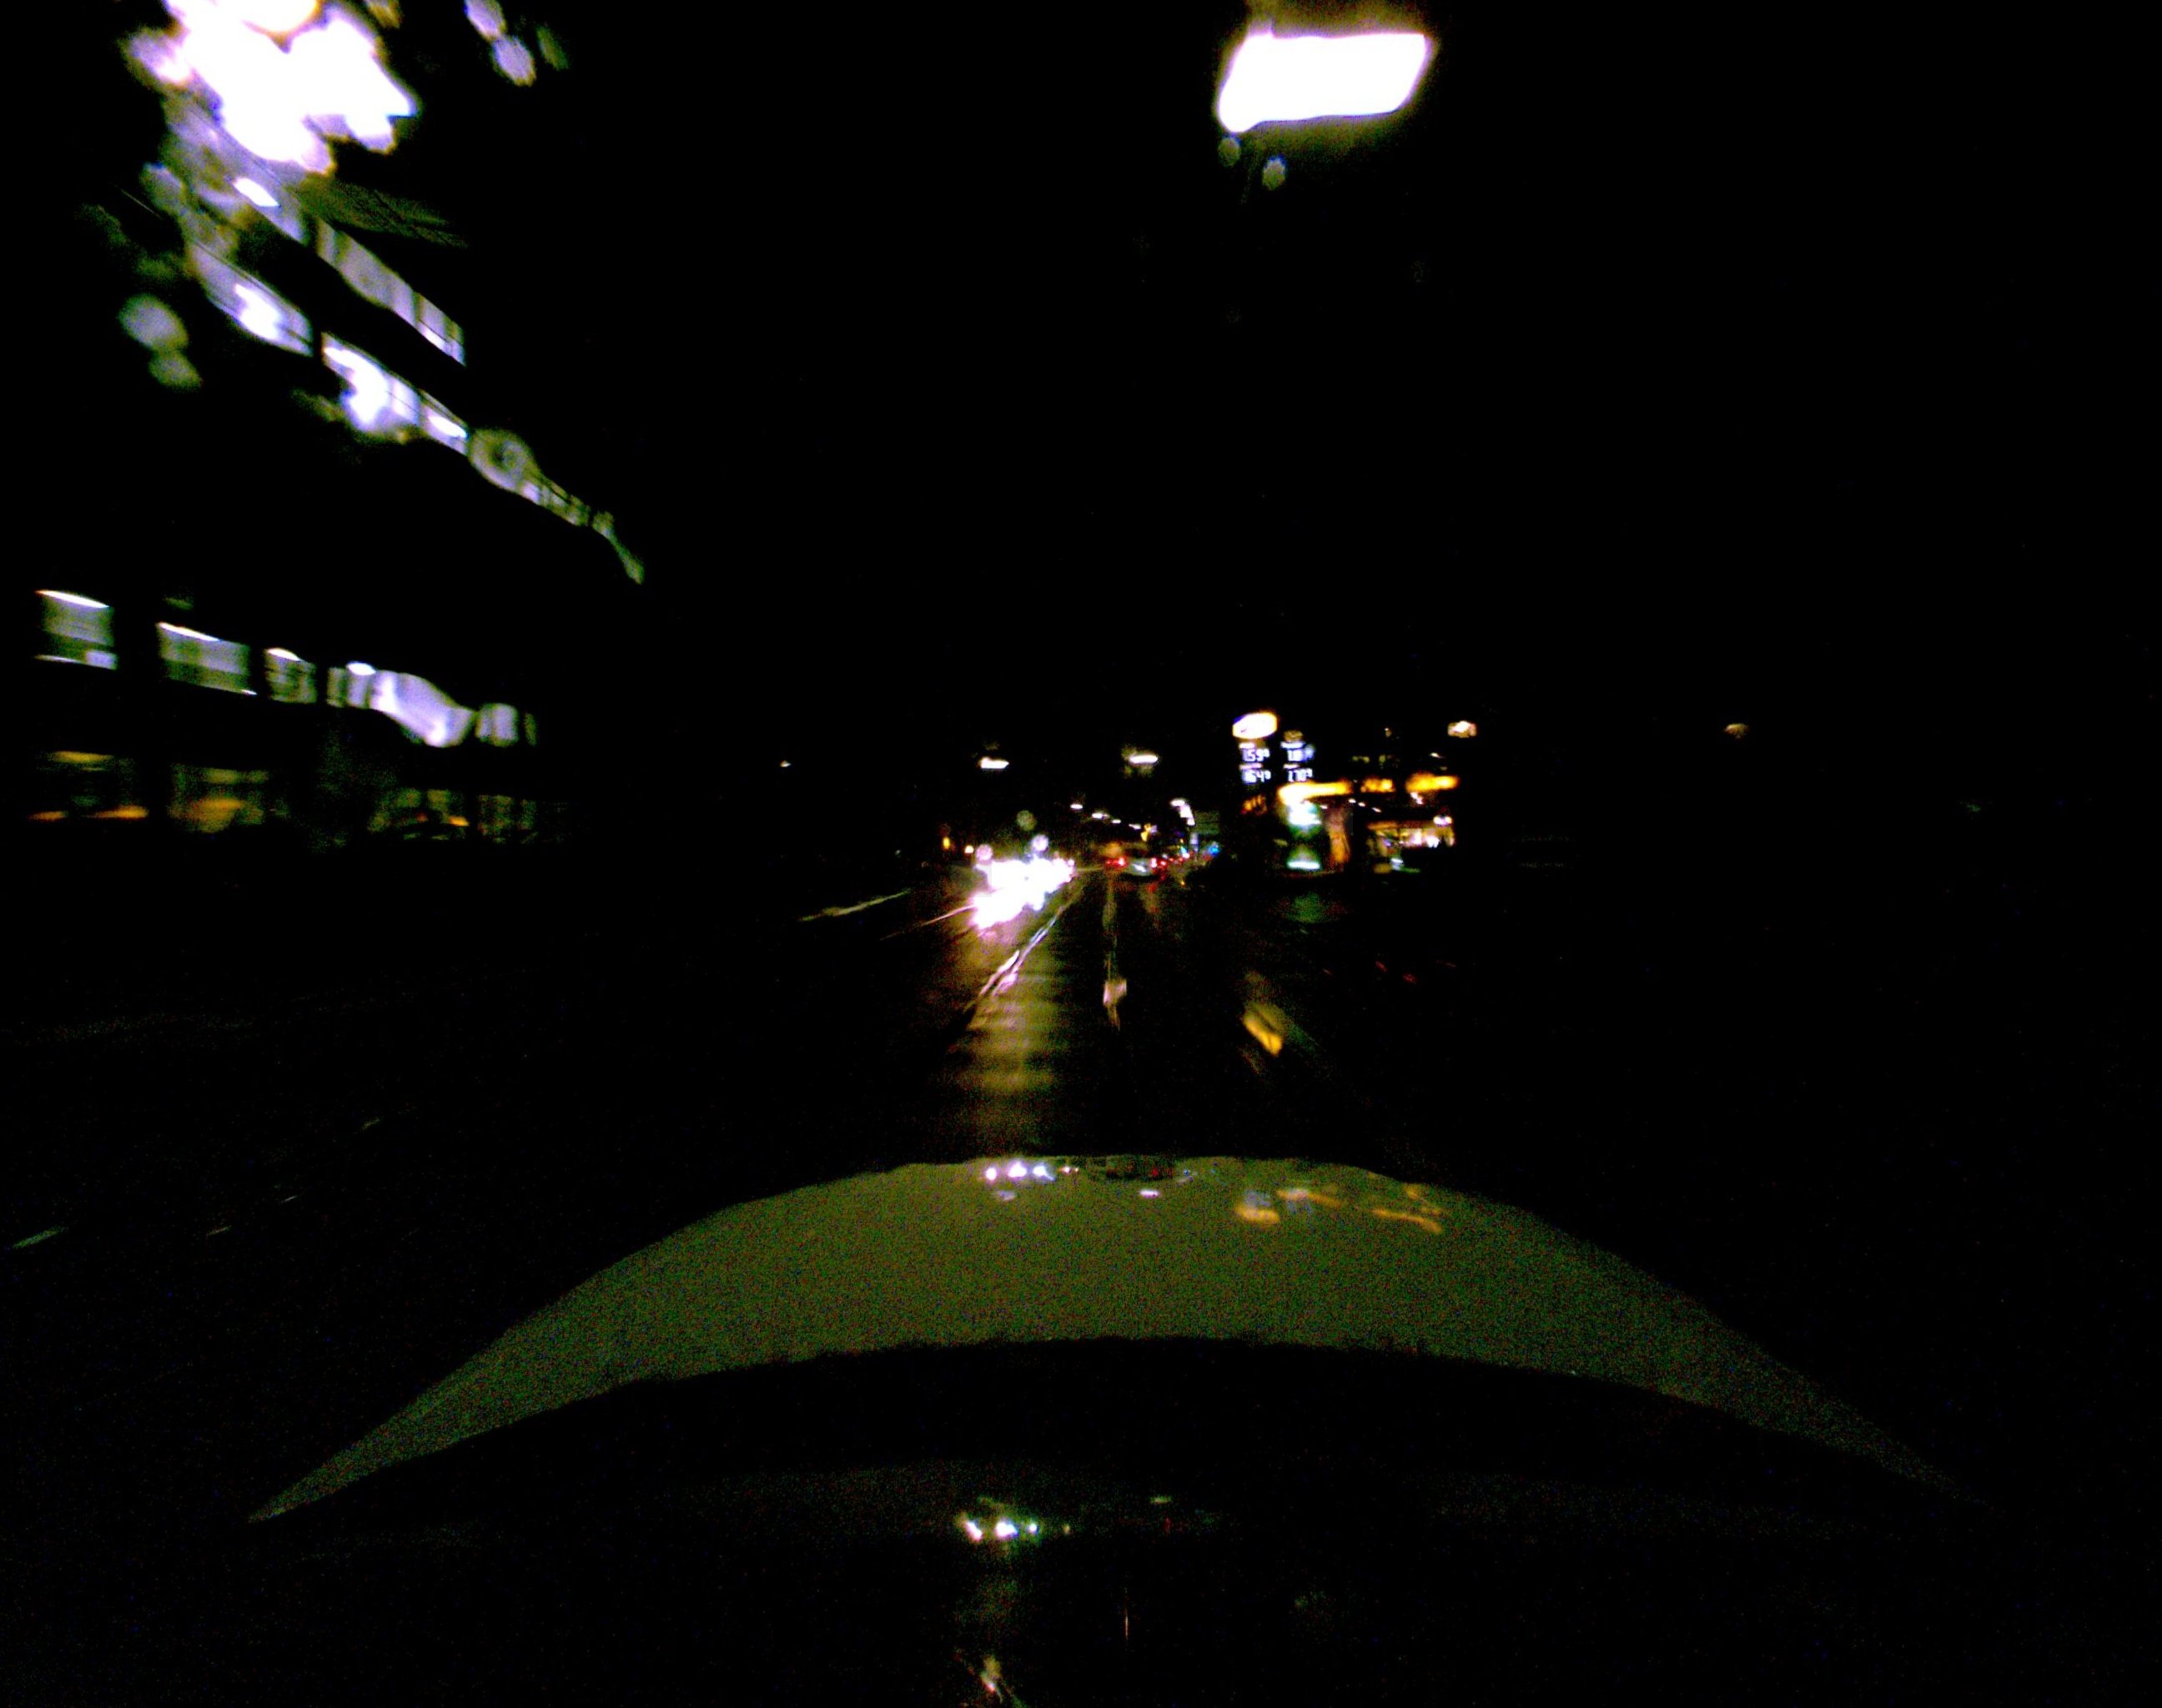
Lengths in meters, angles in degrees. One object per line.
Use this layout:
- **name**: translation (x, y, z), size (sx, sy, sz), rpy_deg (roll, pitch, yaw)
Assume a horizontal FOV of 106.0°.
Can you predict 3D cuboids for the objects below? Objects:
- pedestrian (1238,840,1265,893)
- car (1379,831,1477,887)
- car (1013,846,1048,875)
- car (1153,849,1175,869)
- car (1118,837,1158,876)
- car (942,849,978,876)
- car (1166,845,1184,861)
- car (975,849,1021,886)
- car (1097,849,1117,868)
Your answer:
- **pedestrian**: translation (5.877, 0.425, 28.097), size (0.771, 1.776, 0.697), rpy_deg (-2, 0, 19)
- **car**: translation (11.587, 0.140, 27.050), size (2.004, 1.700, 4.148), rpy_deg (-2, 0, 37)
- **car**: translation (-3.643, 0.453, 59.666), size (2.313, 1.932, 4.960), rpy_deg (-1, 0, -1)
- **car**: translation (7.910, 0.422, 78.011), size (2.007, 1.815, 4.005), rpy_deg (-1, 0, 4)
- **car**: translation (3.602, 0.143, 51.974), size (2.236, 2.361, 4.394), rpy_deg (-1, 0, 1)
- **car**: translation (-9.519, 0.630, 64.309), size (1.985, 2.013, 4.003), rpy_deg (-1, 0, 3)
- **car**: translation (12.183, -0.080, 105.765), size (1.986, 2.013, 4.001), rpy_deg (-1, 0, 1)
- **car**: translation (-4.177, 0.662, 41.653), size (1.988, 1.724, 4.074), rpy_deg (-1, 0, -1)
- **car**: translation (2.742, 0.467, 85.563), size (1.986, 1.816, 4.001), rpy_deg (-1, 0, 1)
